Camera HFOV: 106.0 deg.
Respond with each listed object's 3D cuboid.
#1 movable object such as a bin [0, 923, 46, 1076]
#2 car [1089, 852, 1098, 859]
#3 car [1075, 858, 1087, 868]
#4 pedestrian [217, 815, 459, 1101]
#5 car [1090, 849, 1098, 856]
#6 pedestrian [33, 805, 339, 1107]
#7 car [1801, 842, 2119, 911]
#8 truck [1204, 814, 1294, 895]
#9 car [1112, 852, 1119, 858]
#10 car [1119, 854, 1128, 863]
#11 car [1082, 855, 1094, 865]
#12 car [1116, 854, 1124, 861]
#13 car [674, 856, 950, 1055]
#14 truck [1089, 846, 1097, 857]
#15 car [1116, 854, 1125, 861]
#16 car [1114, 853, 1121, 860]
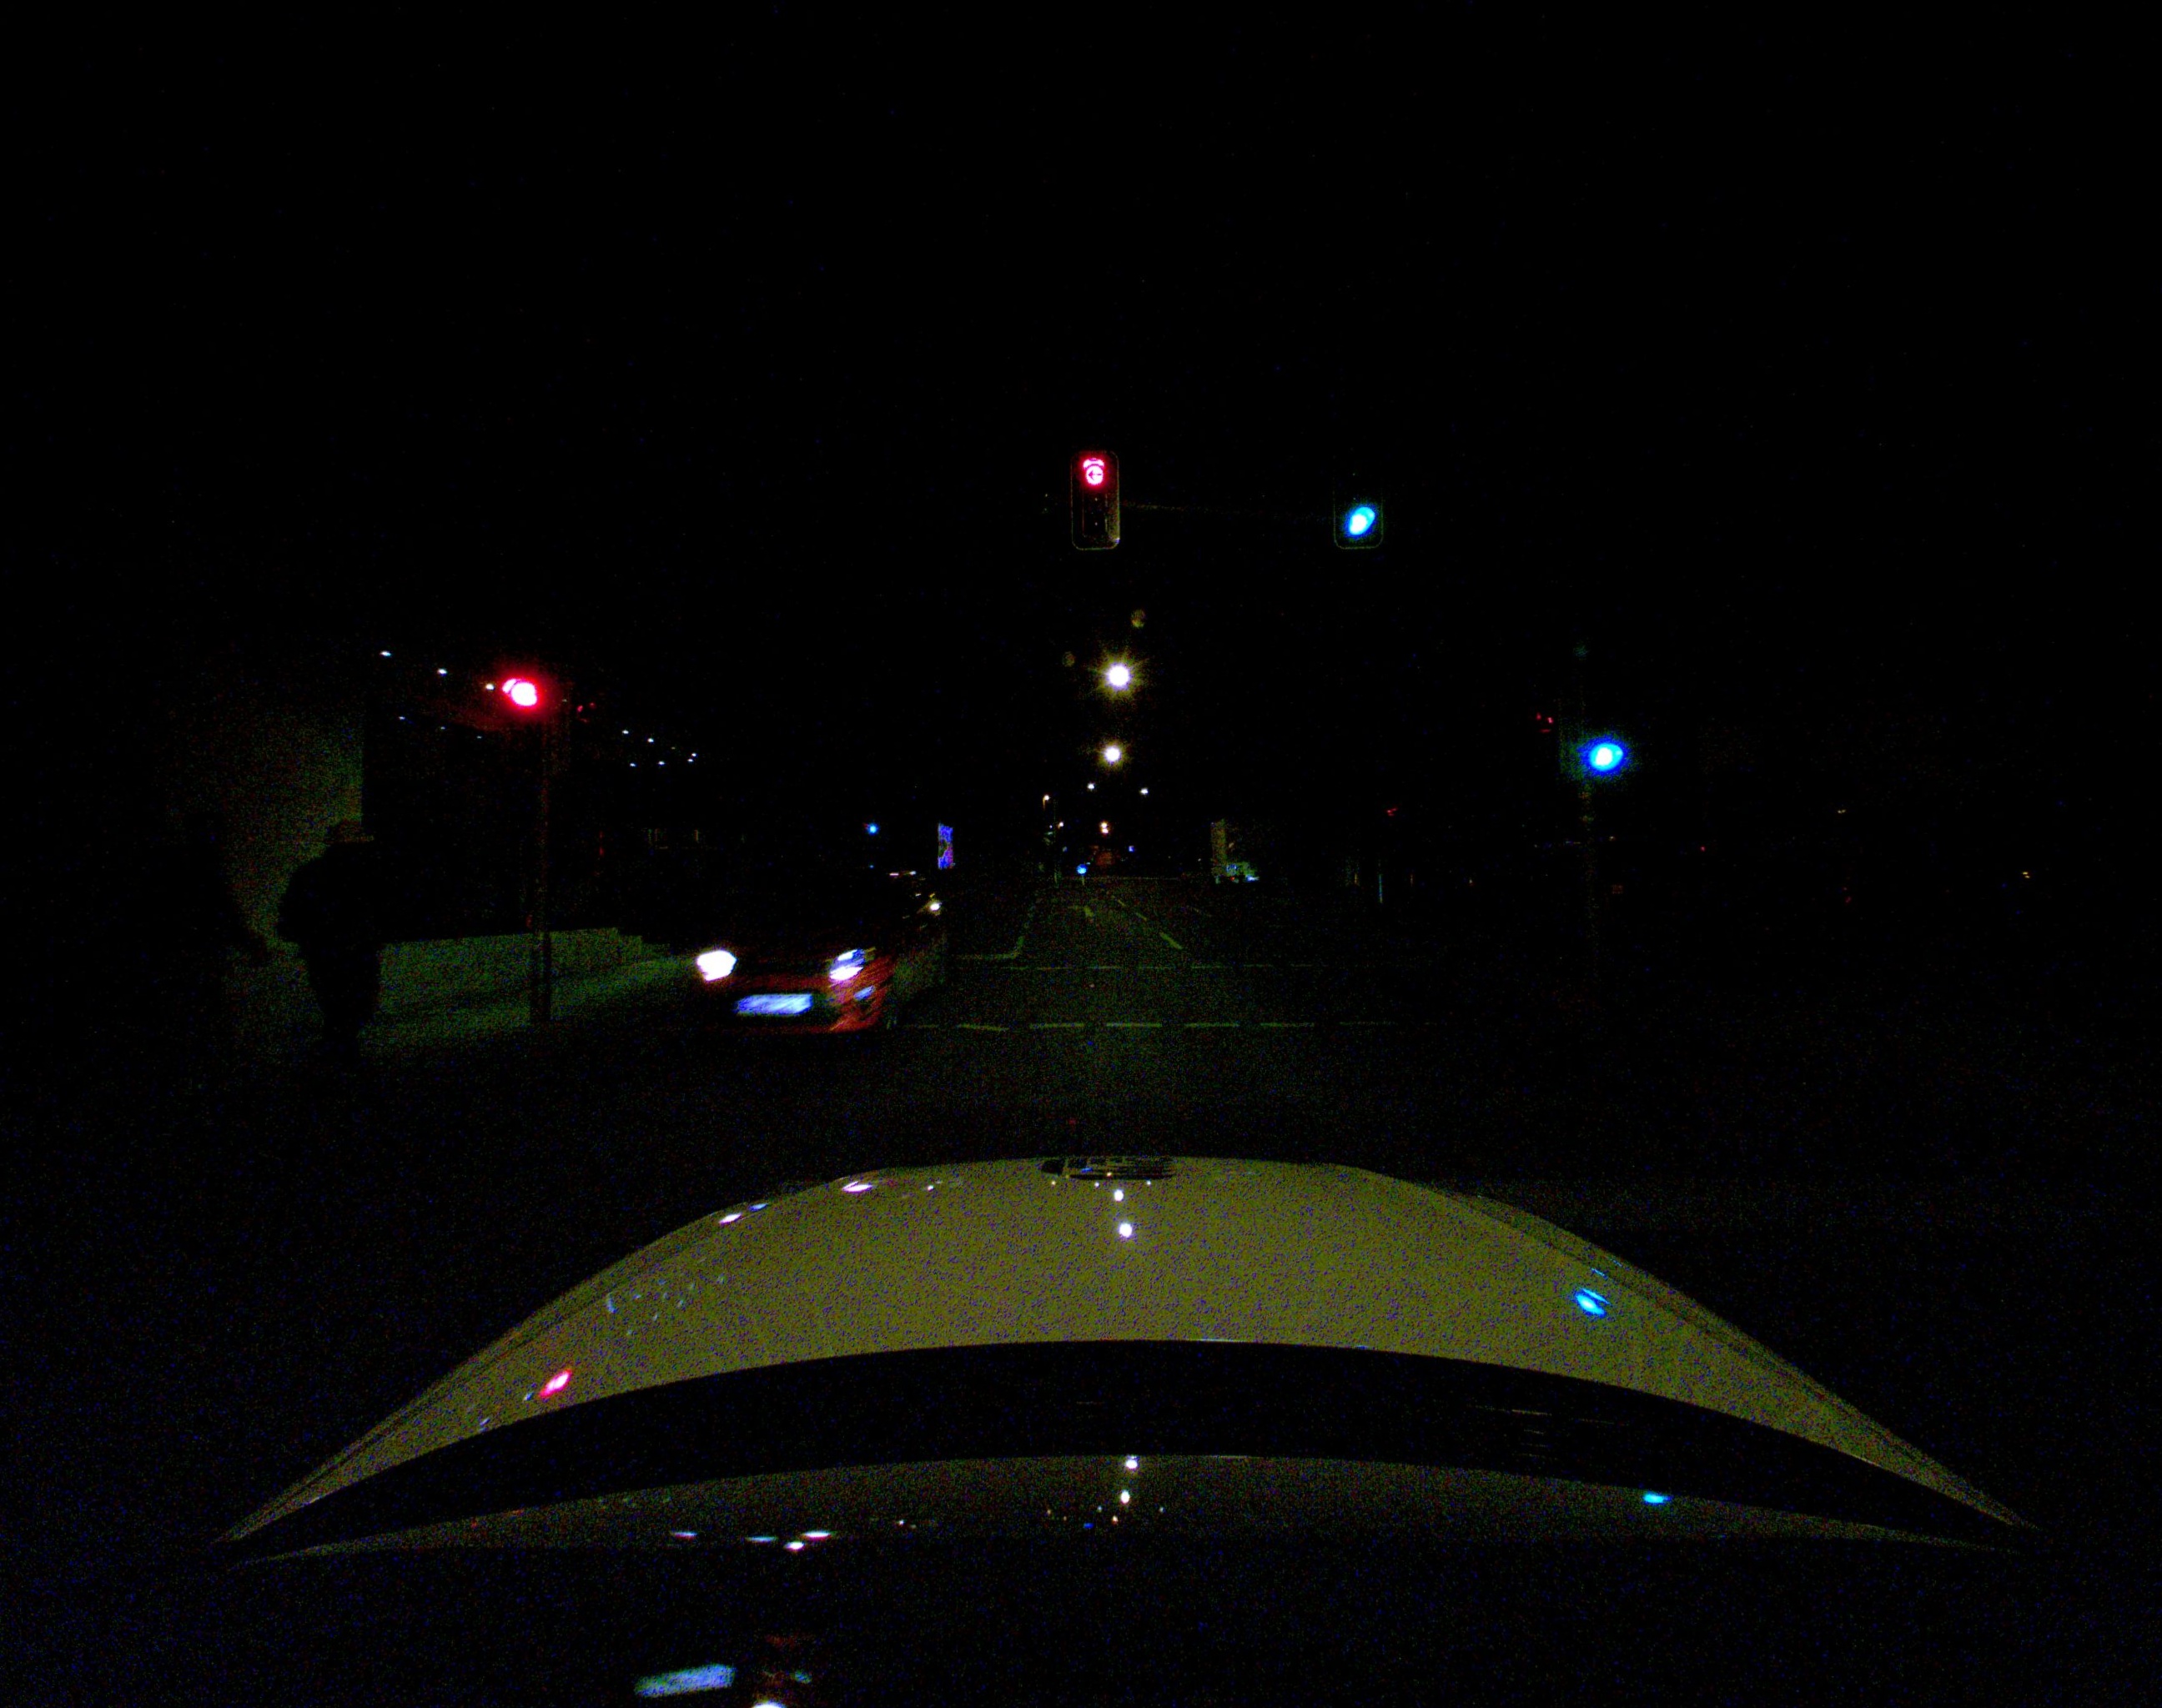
[{"bbox_3d":[-7.922,1.034,5.701,0.633,1.049,0.657,-1,-1,19],"label":"movable object such as a bin"},{"bbox_3d":[2.440,0.307,160.752,1.809,1.491,4.000,0,0,0],"label":"car"},{"bbox_3d":[0.071,1.334,118.413,1.628,1.452,3.486,0,0,2],"label":"car"},{"bbox_3d":[-4.951,0.640,5.512,0.673,1.745,1.029,-1,-1,0],"label":"pedestrian"},{"bbox_3d":[3.006,-0.335,187.154,1.809,1.491,4.000,0,0,0],"label":"car"},{"bbox_3d":[-5.704,0.594,5.286,0.739,1.745,1.103,-1,-1,0],"label":"pedestrian"},{"bbox_3d":[17.327,0.449,16.269,4.107,1.280,1.770,-1,-1,9],"label":"car"},{"bbox_3d":[6.967,0.034,34.616,2.738,3.110,6.262,0,0,2],"label":"truck"},{"bbox_3d":[8.193,0.267,191.553,1.628,1.452,3.486,0,0,2],"label":"car"},{"bbox_3d":[7.492,0.817,143.397,1.628,1.452,3.486,0,0,2],"label":"car"},{"bbox_3d":[1.202,1.002,134.626,1.808,1.684,4.002,0,0,2],"label":"car"},{"bbox_3d":[7.614,0.703,159.327,1.628,1.452,3.486,0,0,2],"label":"car"},{"bbox_3d":[-2.348,0.788,7.983,1.576,1.501,3.395,-1,0,0],"label":"car"},{"bbox_3d":[3.148,-0.723,209.807,2.079,2.848,5.831,0,0,0],"label":"truck"},{"bbox_3d":[7.478,0.641,153.142,1.628,1.452,3.486,0,0,2],"label":"car"},{"bbox_3d":[7.985,0.518,178.575,1.628,1.452,3.486,0,0,2],"label":"car"}]
